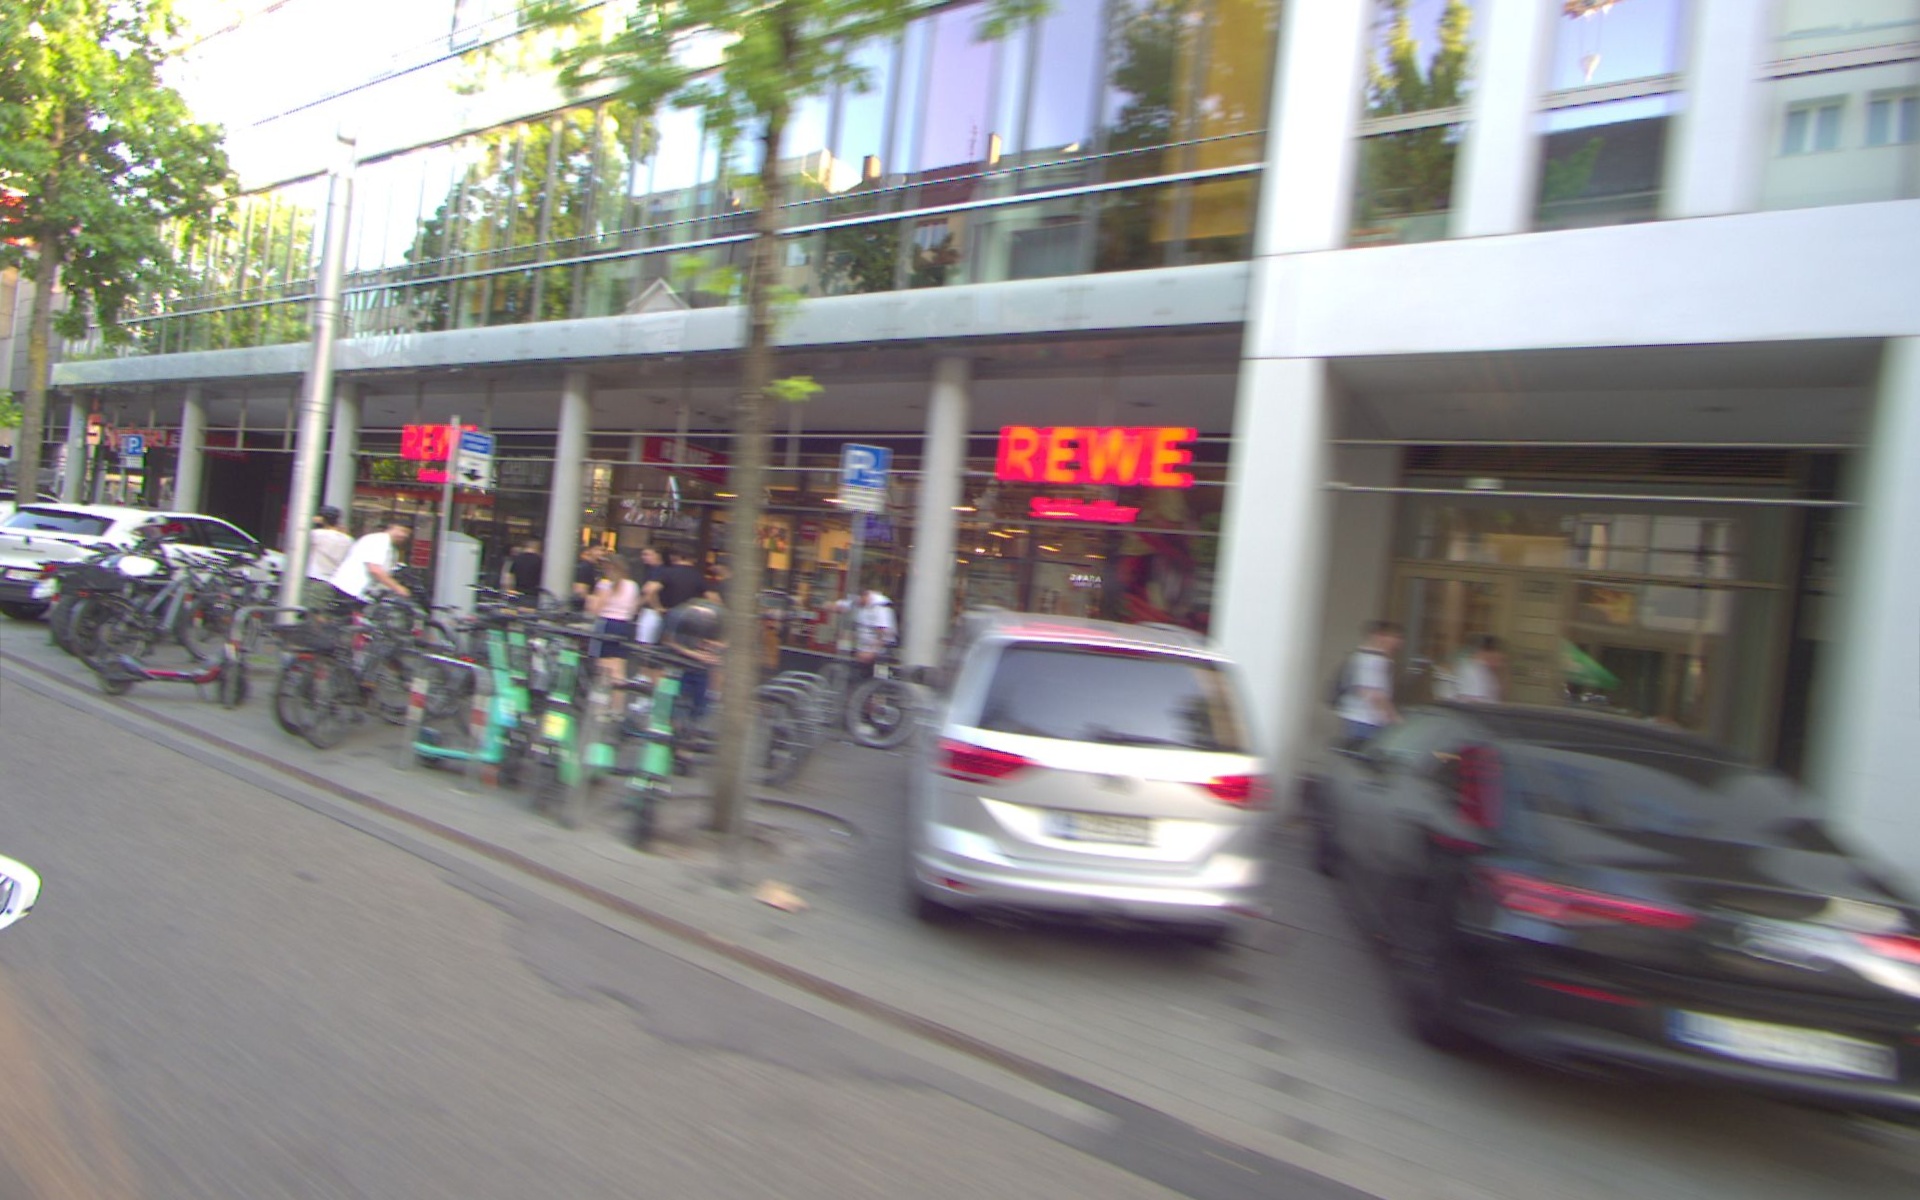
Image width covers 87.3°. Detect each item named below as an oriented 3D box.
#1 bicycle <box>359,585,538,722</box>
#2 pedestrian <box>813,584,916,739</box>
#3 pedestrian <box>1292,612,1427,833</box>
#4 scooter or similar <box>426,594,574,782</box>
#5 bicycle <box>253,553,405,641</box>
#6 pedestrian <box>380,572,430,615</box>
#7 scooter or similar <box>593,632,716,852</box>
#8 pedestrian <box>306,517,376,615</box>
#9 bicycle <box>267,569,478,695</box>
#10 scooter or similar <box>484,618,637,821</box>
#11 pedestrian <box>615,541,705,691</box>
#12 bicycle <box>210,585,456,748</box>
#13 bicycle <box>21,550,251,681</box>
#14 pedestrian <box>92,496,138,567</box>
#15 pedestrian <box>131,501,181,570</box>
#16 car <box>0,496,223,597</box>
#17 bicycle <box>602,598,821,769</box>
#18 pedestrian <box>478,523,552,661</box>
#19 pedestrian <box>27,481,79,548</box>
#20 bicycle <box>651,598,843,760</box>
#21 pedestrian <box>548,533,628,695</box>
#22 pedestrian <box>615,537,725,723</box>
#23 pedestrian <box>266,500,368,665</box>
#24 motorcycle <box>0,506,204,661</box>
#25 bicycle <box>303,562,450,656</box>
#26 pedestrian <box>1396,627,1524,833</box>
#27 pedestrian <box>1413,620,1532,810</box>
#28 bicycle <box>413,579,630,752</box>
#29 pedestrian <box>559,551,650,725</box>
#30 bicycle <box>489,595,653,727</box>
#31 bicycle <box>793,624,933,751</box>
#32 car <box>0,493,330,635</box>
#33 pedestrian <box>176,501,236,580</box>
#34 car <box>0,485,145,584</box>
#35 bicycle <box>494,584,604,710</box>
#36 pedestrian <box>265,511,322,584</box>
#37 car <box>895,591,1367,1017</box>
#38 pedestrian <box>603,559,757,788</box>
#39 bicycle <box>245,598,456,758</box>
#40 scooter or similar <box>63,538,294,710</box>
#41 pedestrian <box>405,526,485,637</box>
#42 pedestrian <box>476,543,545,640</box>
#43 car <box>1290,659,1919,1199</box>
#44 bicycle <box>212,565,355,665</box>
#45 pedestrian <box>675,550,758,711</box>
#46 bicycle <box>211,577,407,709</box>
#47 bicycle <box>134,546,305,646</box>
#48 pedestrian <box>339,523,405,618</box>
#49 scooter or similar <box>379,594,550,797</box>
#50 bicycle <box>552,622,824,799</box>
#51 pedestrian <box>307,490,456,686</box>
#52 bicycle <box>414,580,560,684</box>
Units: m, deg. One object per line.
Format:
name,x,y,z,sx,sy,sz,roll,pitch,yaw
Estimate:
bicycle,-4.825,0.473,9.625,0.469,1.153,1.686,7,2,13
pedestrian,-1.049,0.669,11.013,0.756,1.591,0.625,6,0,-35
pedestrian,3.586,1.075,9.014,0.792,1.792,0.681,8,0,32
scooter or similar,-3.525,0.634,7.662,0.566,1.220,1.265,5,2,-43
bicycle,-9.304,-0.025,14.924,0.918,1.131,1.750,6,0,9
pedestrian,-11.471,-0.141,20.799,0.654,0.791,0.607,6,0,35
scooter or similar,-1.953,0.865,6.581,0.571,1.164,1.397,7,1,-14
pedestrian,-11.638,-0.630,18.918,0.792,1.719,0.681,6,-1,32
bicycle,-6.248,0.320,10.855,0.685,1.163,2.000,7,2,14
scooter or similar,-2.697,0.759,6.918,0.490,1.196,1.331,7,0,-5
pedestrian,-3.866,0.206,12.972,0.706,1.836,0.657,7,2,37
bicycle,-5.163,0.482,8.476,0.667,1.145,1.992,7,1,2
bicycle,-8.324,0.149,10.283,0.792,1.131,1.749,7,0,1
pedestrian,-21.050,-1.706,25.057,0.743,1.637,0.596,8,3,32
pedestrian,-20.474,-1.643,25.606,1.005,1.637,0.596,8,3,32
car,-15.024,-0.888,16.839,1.828,1.477,4.183,6,1,9
bicycle,-2.130,0.716,8.601,1.639,1.266,0.637,6,2,-22
pedestrian,-6.291,-0.117,14.251,0.781,1.836,0.656,5,2,-22
pedestrian,-27.605,-2.599,30.616,0.928,1.860,0.833,8,2,32
bicycle,-1.969,0.730,9.276,1.571,1.305,0.577,6,2,-19
pedestrian,-4.454,0.152,12.026,0.652,1.836,0.712,5,2,-28
pedestrian,-3.109,0.303,10.724,0.875,1.836,0.932,6,2,-22
pedestrian,-7.622,-0.217,11.958,0.590,1.837,0.817,7,3,-6
motorcycle,-9.614,-0.204,11.312,0.783,1.490,2.199,7,1,-11
bicycle,-7.997,0.116,13.888,0.828,1.131,1.791,6,1,3
pedestrian,4.647,1.180,9.346,0.792,1.719,0.681,8,0,32
pedestrian,5.112,1.127,10.028,0.792,1.719,0.681,8,0,32
bicycle,-3.781,0.522,8.865,0.668,1.290,1.833,7,2,14
pedestrian,-3.570,0.367,10.080,0.696,1.645,0.656,5,2,-22
bicycle,-3.850,0.575,10.111,0.492,1.164,1.695,7,2,17
bicycle,-1.091,0.907,10.819,0.568,1.097,1.865,5,1,-35
car,-11.252,-0.501,14.239,1.842,1.583,4.340,6,1,0
pedestrian,-18.636,-1.455,24.866,0.743,1.806,0.878,8,2,32
car,-17.363,-1.227,18.078,1.885,1.659,4.204,6,2,1
bicycle,-4.485,0.467,11.100,0.545,1.205,1.693,6,2,-5
pedestrian,-15.225,-1.210,22.991,0.957,1.546,0.660,6,0,35
car,0.644,0.889,6.733,1.919,1.661,4.671,6,1,-3
pedestrian,-2.196,0.557,7.858,0.785,1.647,0.761,5,2,-39
bicycle,-4.846,0.564,8.144,0.485,1.090,1.748,7,1,2
scooter or similar,-6.940,0.210,8.992,1.369,1.321,0.696,7,1,-6
pedestrian,-8.659,-0.307,16.915,0.792,1.719,0.681,8,0,32
pedestrian,-7.752,-0.136,17.354,0.654,1.566,0.681,6,-1,32
car,3.122,1.262,5.347,1.918,1.441,4.349,6,1,11
bicycle,-8.130,0.144,12.165,0.543,1.048,1.594,6,4,3
pedestrian,-2.864,0.347,11.776,0.707,1.777,0.728,6,2,-21
bicycle,-6.258,0.359,9.808,0.612,1.090,1.831,7,2,1
bicycle,-9.680,-0.055,13.254,0.902,1.131,1.749,6,0,-2
pedestrian,-11.465,-0.572,19.623,0.792,1.719,0.663,6,-1,32
scooter or similar,-3.525,0.641,7.132,1.195,1.238,0.482,6,2,34
bicycle,-2.066,0.834,7.808,1.845,1.090,0.630,7,2,-3
pedestrian,-6.246,-0.129,10.891,0.847,1.940,0.951,8,3,21
bicycle,-5.811,0.372,12.498,0.809,1.108,1.833,7,0,1
